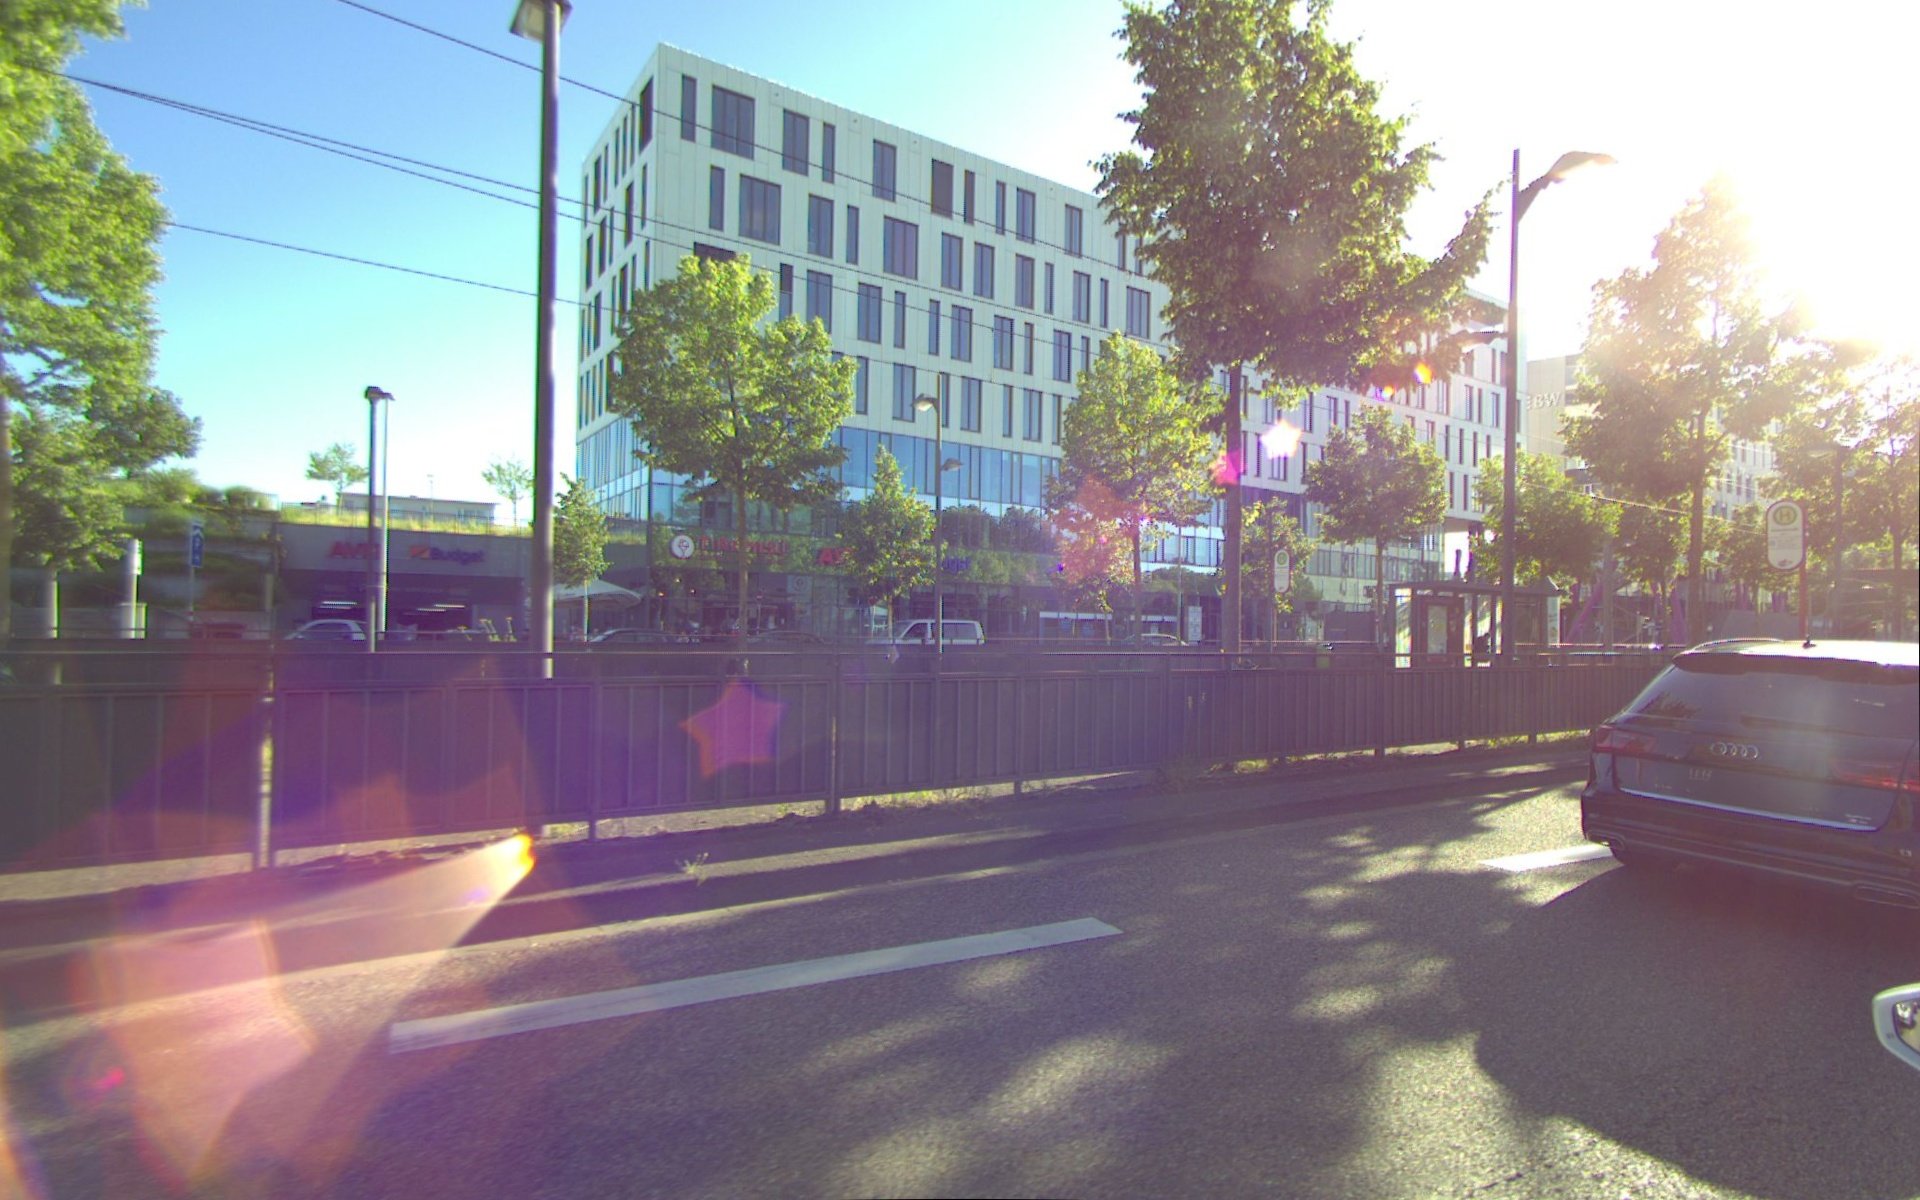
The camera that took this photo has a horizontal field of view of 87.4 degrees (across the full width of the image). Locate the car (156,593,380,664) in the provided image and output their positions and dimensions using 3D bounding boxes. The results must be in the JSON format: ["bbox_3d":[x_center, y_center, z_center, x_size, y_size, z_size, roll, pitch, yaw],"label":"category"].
[{"bbox_3d":[-17.710,0.741,25.976,4.562,1.630,1.982,3,-1,-33],"label":"car"}]

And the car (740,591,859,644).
[{"bbox_3d":[-6.794,0.747,42.697,4.515,2.040,1.982,3,0,-33],"label":"car"}]

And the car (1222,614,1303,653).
[{"bbox_3d":[17.457,1.961,57.910,4.515,2.040,1.982,3,0,-33],"label":"car"}]

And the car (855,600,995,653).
[{"bbox_3d":[-1.255,0.992,37.192,4.800,1.737,1.982,3,-1,-33],"label":"car"}]

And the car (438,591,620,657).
[{"bbox_3d":[-12.506,0.710,29.237,4.562,1.694,1.982,3,-1,-33],"label":"car"}]

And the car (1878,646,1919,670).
[{"bbox_3d":[80.216,4.945,85.462,3.953,1.788,1.984,3,0,-30],"label":"car"}]

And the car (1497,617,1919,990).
[{"bbox_3d":[5.695,0.937,6.217,5.029,1.500,1.942,2,0,-32],"label":"car"}]
